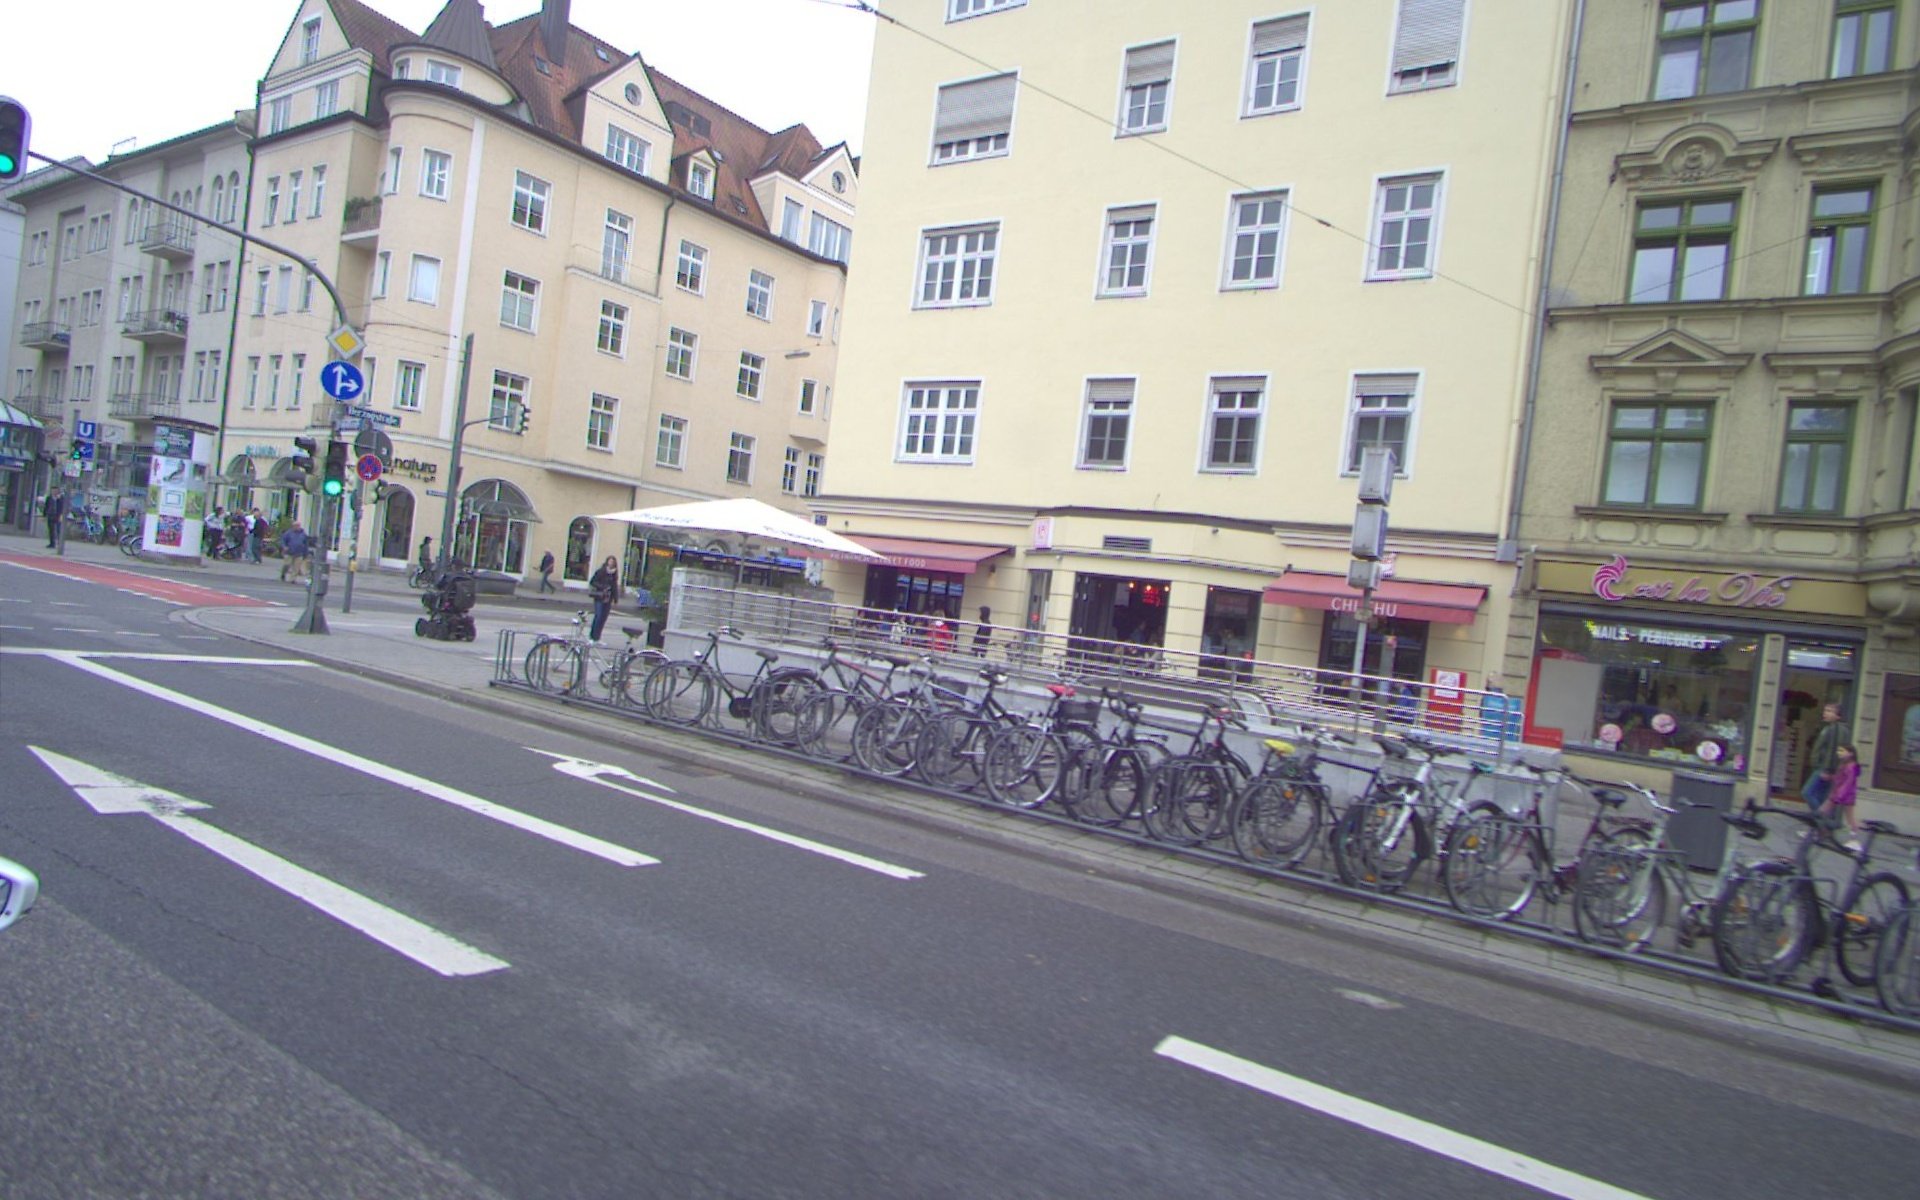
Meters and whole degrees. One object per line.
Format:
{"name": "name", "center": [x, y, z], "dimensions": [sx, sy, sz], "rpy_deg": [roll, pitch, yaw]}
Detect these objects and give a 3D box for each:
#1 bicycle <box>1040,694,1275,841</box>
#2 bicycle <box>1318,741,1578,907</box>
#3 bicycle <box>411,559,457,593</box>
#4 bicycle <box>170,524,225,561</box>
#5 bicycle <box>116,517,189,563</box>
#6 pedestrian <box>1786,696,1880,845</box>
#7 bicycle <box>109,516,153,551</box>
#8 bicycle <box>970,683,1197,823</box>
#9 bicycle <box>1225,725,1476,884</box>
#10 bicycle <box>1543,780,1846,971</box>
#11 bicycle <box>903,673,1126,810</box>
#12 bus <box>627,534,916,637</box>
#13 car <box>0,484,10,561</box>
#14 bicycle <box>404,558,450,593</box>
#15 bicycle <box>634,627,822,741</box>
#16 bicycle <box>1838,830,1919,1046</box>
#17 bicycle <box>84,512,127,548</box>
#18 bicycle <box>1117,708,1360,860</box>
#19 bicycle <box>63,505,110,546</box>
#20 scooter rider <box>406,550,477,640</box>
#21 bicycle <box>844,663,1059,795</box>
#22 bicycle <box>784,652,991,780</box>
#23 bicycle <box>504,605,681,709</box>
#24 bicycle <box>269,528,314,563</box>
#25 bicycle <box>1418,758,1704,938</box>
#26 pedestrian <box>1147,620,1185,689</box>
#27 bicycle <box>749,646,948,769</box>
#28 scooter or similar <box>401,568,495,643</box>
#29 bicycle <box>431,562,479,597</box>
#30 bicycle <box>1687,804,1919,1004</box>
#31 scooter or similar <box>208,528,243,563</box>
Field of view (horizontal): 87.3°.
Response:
{"name": "bicycle", "center": [1.582, 1.344, 8.007], "dimensions": [1.815, 1.008, 0.346], "rpy_deg": [6, 1, -19]}
{"name": "bicycle", "center": [3.396, 1.564, 6.969], "dimensions": [1.815, 1.008, 0.346], "rpy_deg": [6, 1, -19]}
{"name": "bicycle", "center": [-17.924, -0.798, 34.287], "dimensions": [0.244, 1.046, 1.584], "rpy_deg": [7, 0, 18]}
{"name": "bicycle", "center": [-26.750, -2.011, 35.299], "dimensions": [1.831, 1.072, 0.496], "rpy_deg": [7, 1, 17]}
{"name": "bicycle", "center": [-24.343, -1.807, 30.357], "dimensions": [0.516, 1.175, 1.568], "rpy_deg": [9, 2, 35]}
{"name": "pedestrian", "center": [11.178, 2.153, 12.906], "dimensions": [0.655, 1.761, 0.601], "rpy_deg": [7, 1, 32]}
{"name": "bicycle", "center": [-27.561, -2.210, 33.431], "dimensions": [1.835, 0.987, 0.495], "rpy_deg": [7, 1, 32]}
{"name": "bicycle", "center": [1.042, 1.281, 8.372], "dimensions": [1.815, 1.008, 0.346], "rpy_deg": [6, 1, -19]}
{"name": "bicycle", "center": [2.852, 1.499, 7.308], "dimensions": [1.815, 1.008, 0.346], "rpy_deg": [6, 1, -19]}
{"name": "bicycle", "center": [4.507, 1.692, 6.161], "dimensions": [1.813, 1.008, 0.347], "rpy_deg": [6, 1, -15]}
{"name": "bicycle", "center": [0.480, 1.228, 8.682], "dimensions": [1.813, 1.008, 0.347], "rpy_deg": [6, 1, -15]}
{"name": "bus", "center": [-7.803, -0.432, 44.805], "dimensions": [2.776, 3.004, 13.537], "rpy_deg": [9, 1, 42]}
{"name": "car", "center": [-10.973, -0.535, 9.702], "dimensions": [3.497, 1.608, 1.706], "rpy_deg": [7, -1, 32]}
{"name": "bicycle", "center": [-18.176, -0.832, 34.349], "dimensions": [0.244, 1.046, 1.584], "rpy_deg": [7, 0, 18]}
{"name": "bicycle", "center": [-2.417, 0.884, 10.571], "dimensions": [1.812, 1.008, 0.347], "rpy_deg": [6, 1, -14]}
{"name": "bicycle", "center": [5.652, 1.831, 5.493], "dimensions": [1.815, 1.008, 0.346], "rpy_deg": [6, 1, -19]}
{"name": "bicycle", "center": [-27.909, -2.288, 32.850], "dimensions": [1.835, 0.987, 0.495], "rpy_deg": [7, 1, 32]}
{"name": "bicycle", "center": [2.133, 1.409, 7.646], "dimensions": [1.815, 1.008, 0.346], "rpy_deg": [6, 1, -19]}
{"name": "bicycle", "center": [-28.177, -2.398, 32.433], "dimensions": [1.835, 1.121, 0.567], "rpy_deg": [7, 1, 32]}
{"name": "scooter rider", "center": [-8.712, -0.081, 16.917], "dimensions": [0.632, 1.406, 0.702], "rpy_deg": [7, 1, 30]}
{"name": "bicycle", "center": [-0.072, 1.163, 9.029], "dimensions": [1.813, 1.008, 0.347], "rpy_deg": [6, 1, -15]}
{"name": "bicycle", "center": [-0.672, 1.091, 9.392], "dimensions": [1.813, 1.008, 0.347], "rpy_deg": [6, 1, -15]}
{"name": "bicycle", "center": [-4.224, 0.668, 11.659], "dimensions": [1.812, 1.008, 0.347], "rpy_deg": [6, 1, -14]}
{"name": "bicycle", "center": [-25.265, -2.065, 37.998], "dimensions": [1.833, 1.103, 0.495], "rpy_deg": [7, 1, 26]}
{"name": "bicycle", "center": [3.926, 1.625, 6.558], "dimensions": [1.813, 1.008, 0.347], "rpy_deg": [6, 1, -15]}
{"name": "pedestrian", "center": [4.374, 1.158, 21.346], "dimensions": [0.481, 1.414, 0.509], "rpy_deg": [7, 0, 37]}
{"name": "bicycle", "center": [-1.084, 1.048, 9.784], "dimensions": [1.812, 1.008, 0.347], "rpy_deg": [6, 1, -12]}
{"name": "scooter or similar", "center": [-8.599, 0.097, 16.890], "dimensions": [1.235, 1.088, 0.776], "rpy_deg": [7, 0, 30]}
{"name": "bicycle", "center": [-17.217, -0.692, 34.317], "dimensions": [0.350, 1.046, 1.584], "rpy_deg": [7, 0, 18]}
{"name": "bicycle", "center": [5.113, 1.768, 5.861], "dimensions": [1.815, 1.008, 0.346], "rpy_deg": [6, 1, -19]}
{"name": "scooter or similar", "center": [-23.948, -1.780, 32.807], "dimensions": [0.815, 1.007, 0.587], "rpy_deg": [7, 3, -36]}
